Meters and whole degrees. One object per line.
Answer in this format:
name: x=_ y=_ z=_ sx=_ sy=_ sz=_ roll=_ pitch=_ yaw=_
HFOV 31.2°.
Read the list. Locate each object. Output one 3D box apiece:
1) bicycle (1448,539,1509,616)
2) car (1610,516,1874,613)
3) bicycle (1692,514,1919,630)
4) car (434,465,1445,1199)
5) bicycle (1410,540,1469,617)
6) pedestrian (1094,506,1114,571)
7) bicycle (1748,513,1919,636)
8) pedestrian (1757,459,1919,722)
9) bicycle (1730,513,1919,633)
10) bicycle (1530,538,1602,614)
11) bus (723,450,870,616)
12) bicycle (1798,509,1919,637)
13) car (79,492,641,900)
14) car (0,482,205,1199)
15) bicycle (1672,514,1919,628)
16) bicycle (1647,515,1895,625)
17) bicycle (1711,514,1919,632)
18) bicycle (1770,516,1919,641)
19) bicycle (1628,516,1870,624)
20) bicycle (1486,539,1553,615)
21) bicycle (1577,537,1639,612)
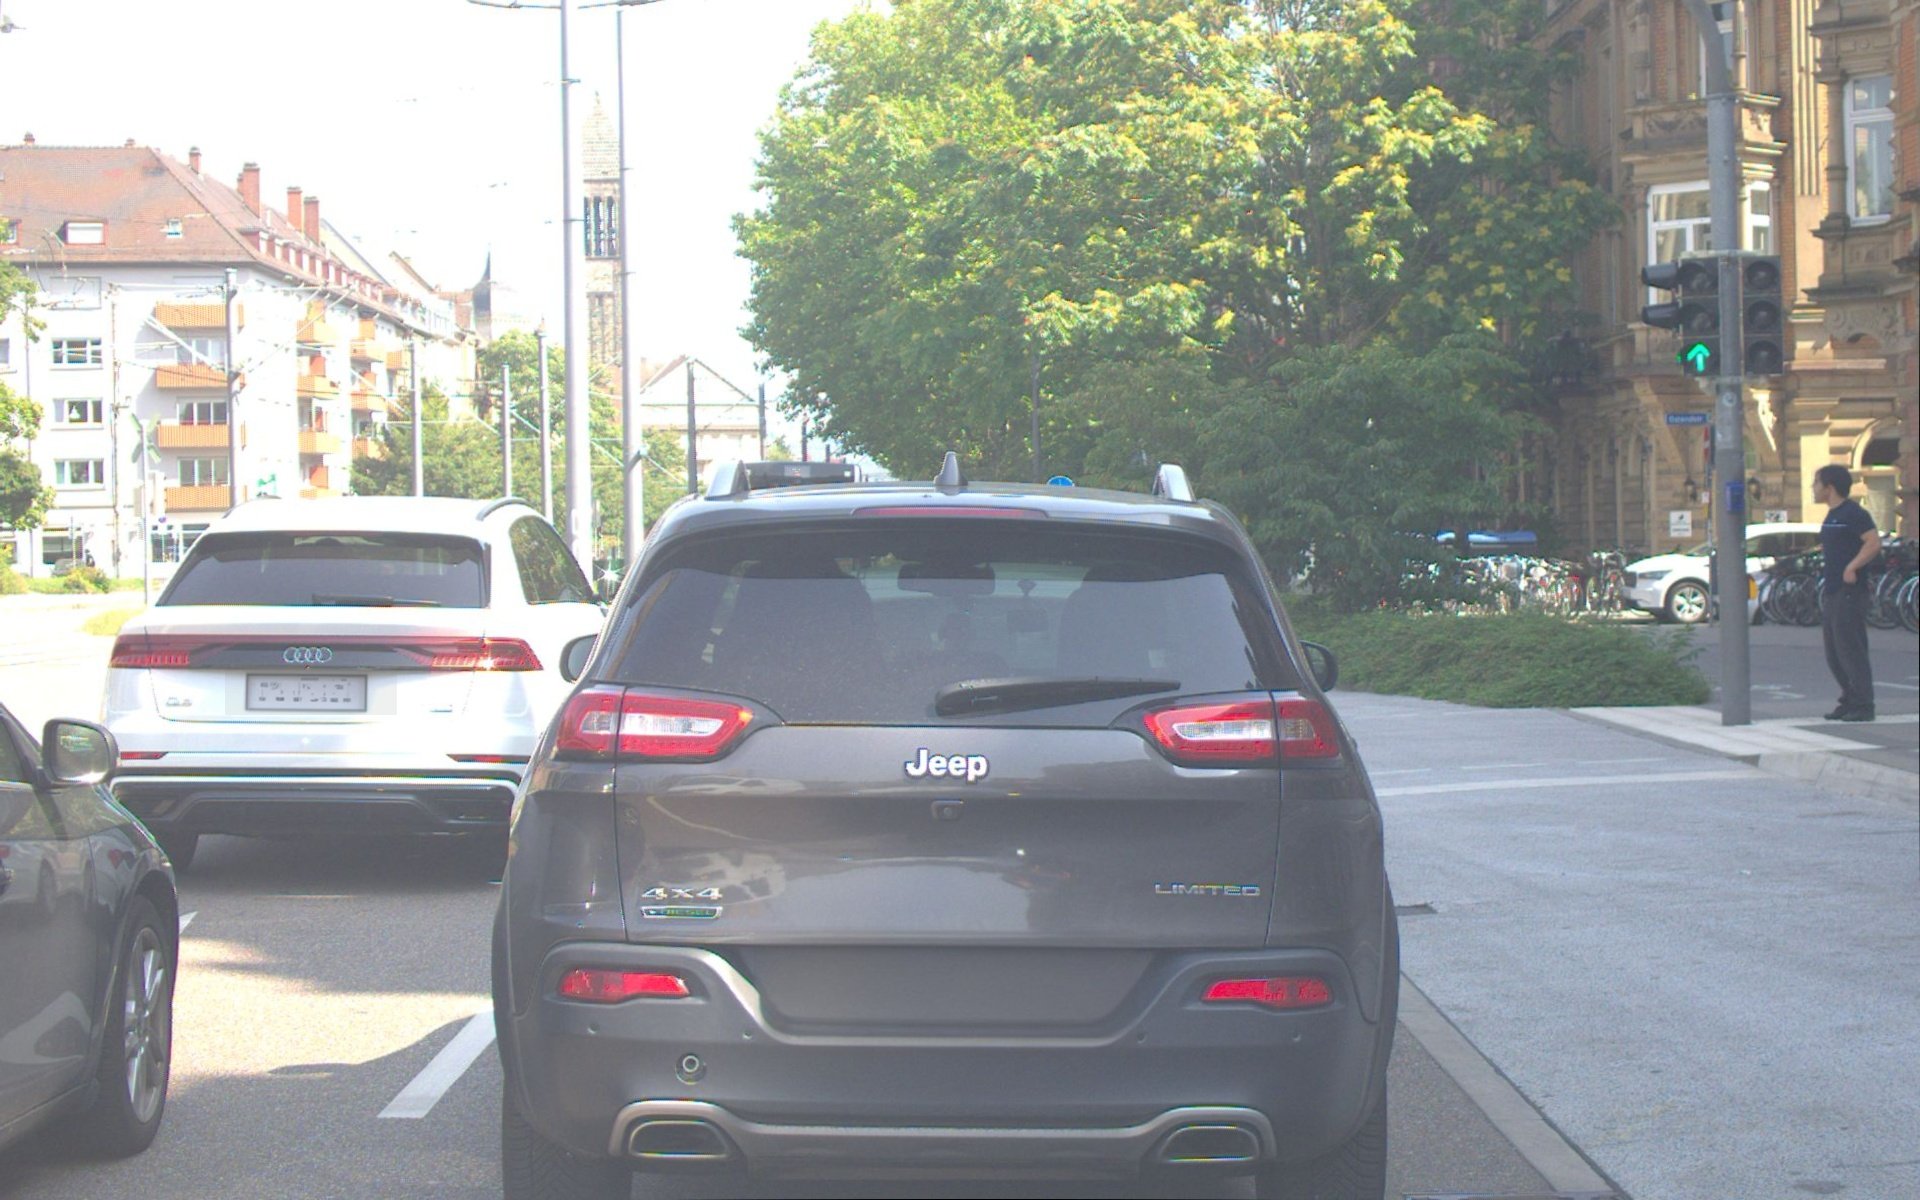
bicycle: x=8.801 y=-0.397 z=58.453 sx=0.649 sy=1.249 sz=3.014 roll=-1 pitch=1 yaw=2
car: x=13.056 y=-0.604 z=57.480 sx=3.931 sy=1.515 sz=1.683 roll=-1 pitch=1 yaw=-7
bicycle: x=10.735 y=-0.358 z=42.807 sx=3.003 sy=1.368 sz=0.947 roll=-1 pitch=1 yaw=-1
car: x=-0.020 y=0.539 z=8.425 sx=1.832 sy=1.646 sz=4.308 roll=0 pitch=1 yaw=1
bicycle: x=8.140 y=-0.382 z=58.478 sx=0.649 sy=1.249 sz=3.014 roll=-1 pitch=1 yaw=2
pedestrian: x=4.449 y=-1.893 z=106.274 sx=0.528 sy=2.007 sz=0.532 roll=-1 pitch=1 yaw=-2
bicycle: x=10.732 y=-0.313 z=39.821 sx=2.993 sy=1.366 sz=0.871 roll=-1 pitch=1 yaw=-1
pedestrian: x=6.053 y=-0.069 z=23.375 sx=0.766 sy=1.735 sz=0.901 roll=-3 pitch=1 yaw=-33
bicycle: x=10.745 y=-0.331 z=40.768 sx=2.993 sy=1.366 sz=0.871 roll=-1 pitch=1 yaw=-1
bicycle: x=10.290 y=-0.424 z=58.466 sx=0.763 sy=1.249 sz=3.014 roll=-1 pitch=1 yaw=2
bus: x=-3.324 y=-1.352 z=70.982 sx=2.743 sy=3.096 sz=11.957 roll=1 pitch=1 yaw=-2
bicycle: x=10.884 y=-0.324 z=38.001 sx=2.993 sy=1.366 sz=0.871 roll=-1 pitch=1 yaw=-1
car: x=-2.620 y=0.340 z=16.040 sx=1.902 sy=1.646 sz=4.309 roll=0 pitch=1 yaw=0
car: x=-2.805 y=0.565 z=6.711 sx=1.747 sy=1.609 sz=4.309 roll=0 pitch=1 yaw=0
bicycle: x=10.685 y=-0.374 z=43.817 sx=3.003 sy=1.368 sz=0.947 roll=-1 pitch=1 yaw=-1
bicycle: x=10.632 y=-0.396 z=45.134 sx=3.003 sy=1.368 sz=0.947 roll=-1 pitch=1 yaw=-1
bicycle: x=10.735 y=-0.340 z=41.712 sx=3.003 sy=1.368 sz=0.947 roll=-1 pitch=1 yaw=-1
bicycle: x=10.782 y=-0.263 z=38.909 sx=2.993 sy=1.366 sz=0.871 roll=-1 pitch=1 yaw=-1
bicycle: x=10.581 y=-0.408 z=46.176 sx=3.003 sy=1.368 sz=0.947 roll=-1 pitch=1 yaw=-1
bicycle: x=9.501 y=-0.408 z=58.452 sx=0.732 sy=1.249 sz=3.014 roll=-1 pitch=1 yaw=2
bicycle: x=11.089 y=-0.448 z=58.899 sx=0.658 sy=1.245 sz=2.412 roll=-1 pitch=1 yaw=2
